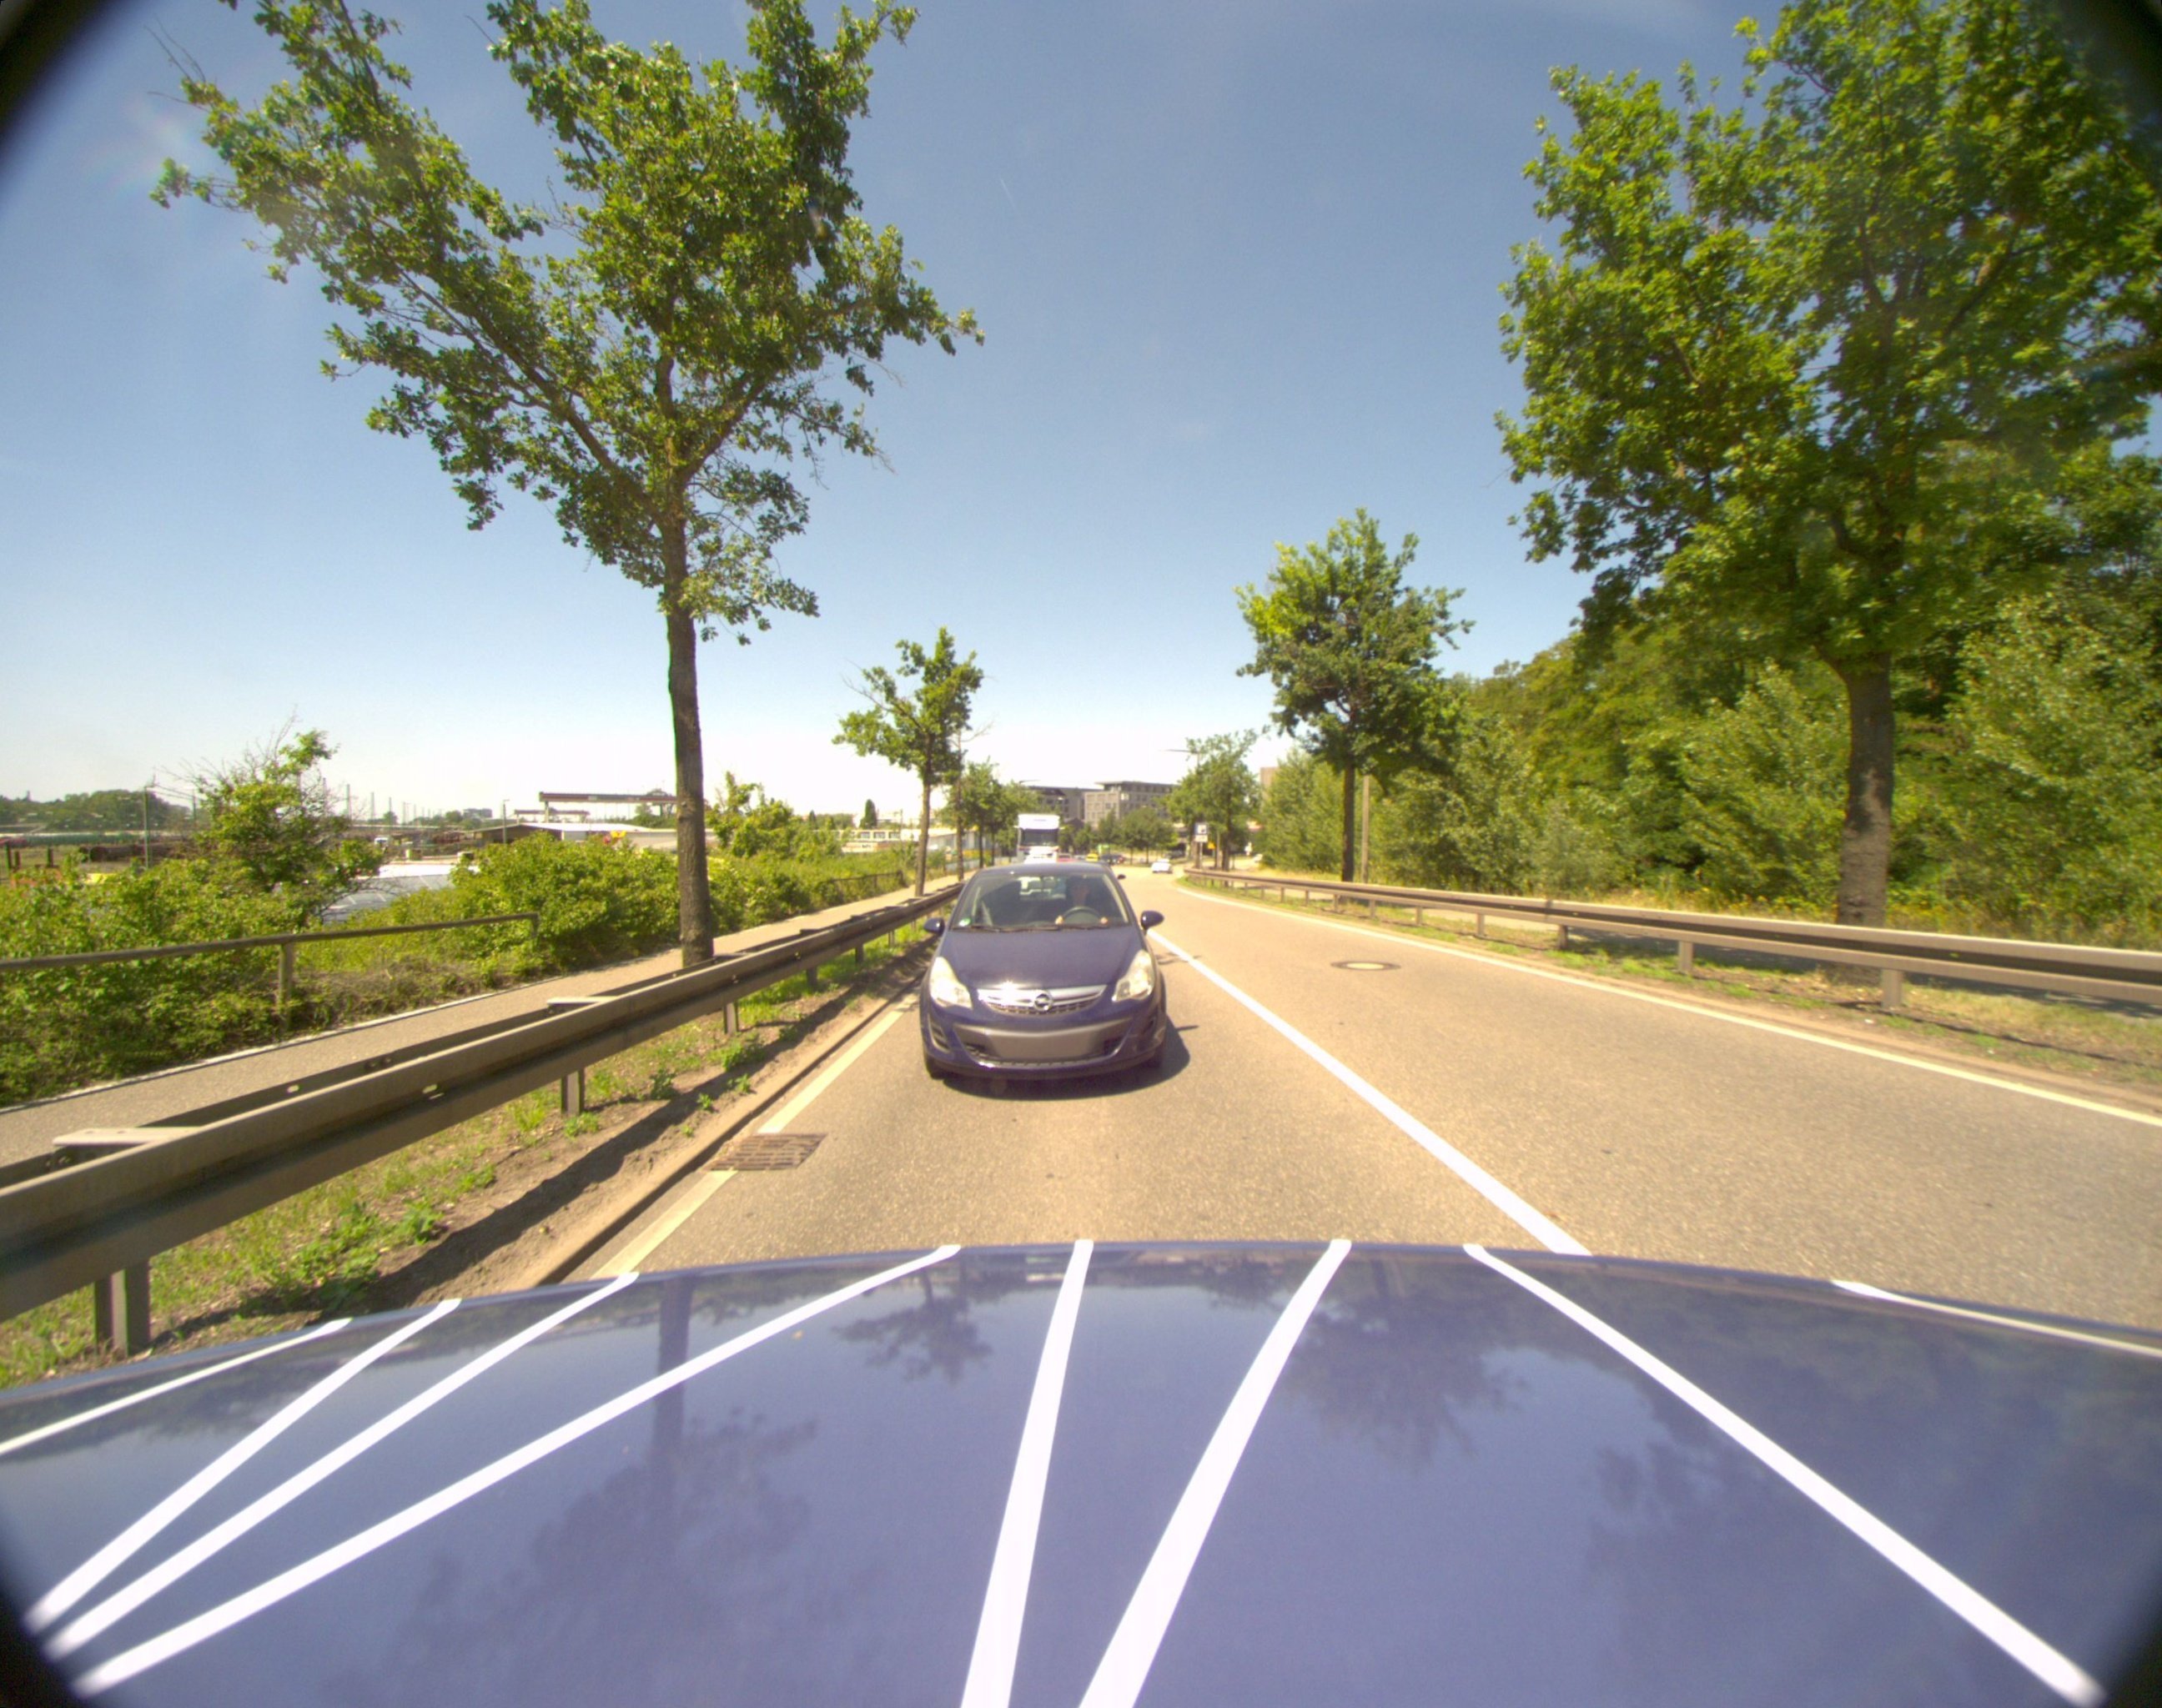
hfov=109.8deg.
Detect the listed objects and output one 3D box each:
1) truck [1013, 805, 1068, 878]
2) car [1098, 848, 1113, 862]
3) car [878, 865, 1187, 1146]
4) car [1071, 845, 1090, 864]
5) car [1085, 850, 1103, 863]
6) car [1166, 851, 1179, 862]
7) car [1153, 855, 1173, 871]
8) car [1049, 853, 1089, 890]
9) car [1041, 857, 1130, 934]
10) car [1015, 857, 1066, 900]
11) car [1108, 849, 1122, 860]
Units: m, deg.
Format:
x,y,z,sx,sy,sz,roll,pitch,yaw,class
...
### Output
x,y,z,sx,sy,sz,roll,pitch,yaw,class
-3.057,-0.811,53.160,3.071,4.146,16.902,-2,1,-5,truck
3.712,0.197,115.005,1.779,2.002,4.002,-2,1,9,car
-0.345,0.893,6.290,1.720,1.455,3.836,-2,1,-2,car
-0.031,0.060,84.154,1.780,2.002,4.000,-2,1,2,car
1.774,0.362,101.933,1.742,1.608,4.002,-2,1,9,car
18.738,0.520,155.323,1.778,2.002,4.005,-2,1,19,car
8.485,0.896,78.119,1.779,1.435,4.002,-2,1,9,car
-0.607,0.799,36.608,1.780,1.569,3.999,-2,1,-2,car
-0.005,0.885,18.054,1.781,1.498,3.894,-2,1,-4,car
-1.551,0.887,29.162,1.780,1.398,3.998,-2,1,-3,car
5.510,0.089,123.280,1.779,1.657,4.002,-2,1,9,car
